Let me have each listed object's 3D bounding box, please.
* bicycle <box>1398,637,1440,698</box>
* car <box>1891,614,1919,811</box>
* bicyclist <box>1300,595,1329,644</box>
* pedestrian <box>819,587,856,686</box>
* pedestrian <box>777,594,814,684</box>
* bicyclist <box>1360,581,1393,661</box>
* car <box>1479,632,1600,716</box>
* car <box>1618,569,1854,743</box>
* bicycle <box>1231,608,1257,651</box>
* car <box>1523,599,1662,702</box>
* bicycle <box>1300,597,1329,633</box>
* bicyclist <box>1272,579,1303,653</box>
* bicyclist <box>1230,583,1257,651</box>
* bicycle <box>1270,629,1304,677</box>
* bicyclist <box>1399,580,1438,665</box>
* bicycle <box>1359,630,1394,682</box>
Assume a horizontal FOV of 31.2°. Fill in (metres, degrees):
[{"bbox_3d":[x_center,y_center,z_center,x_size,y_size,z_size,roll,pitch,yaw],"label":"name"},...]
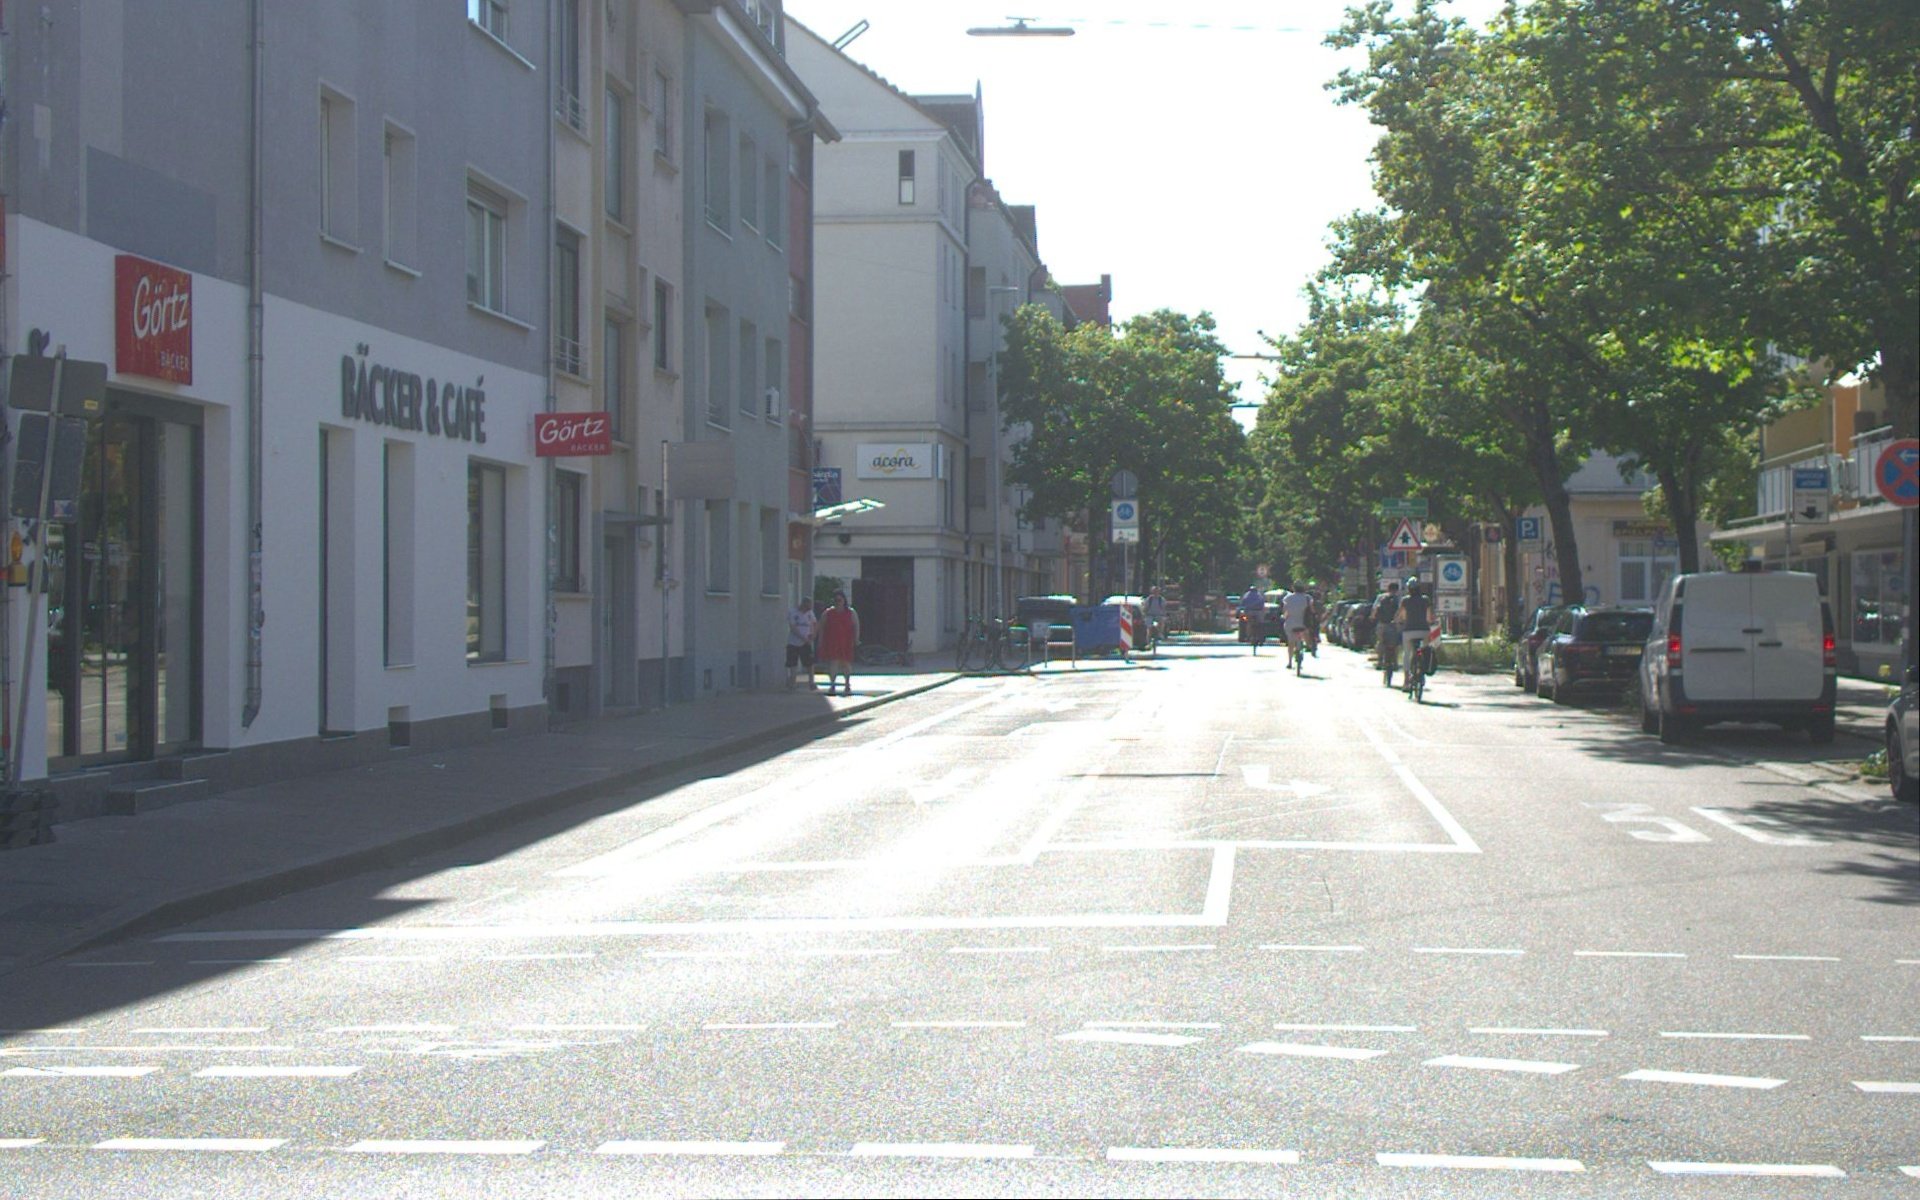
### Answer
[{"bbox_3d":[6.836,1.000,51.259,0.547,0.863,1.876,0,0,6],"label":"bicycle"},{"bbox_3d":[8.055,0.857,25.354,1.713,1.478,3.380,0,0,5],"label":"car"},{"bbox_3d":[8.639,0.464,83.716,0.692,1.189,0.595,0,0,6],"label":"bicyclist"},{"bbox_3d":[-1.973,0.585,55.423,0.577,1.577,0.708,0,0,-1],"label":"pedestrian"},{"bbox_3d":[-2.672,0.632,55.912,0.577,1.462,0.702,0,0,-1],"label":"pedestrian"},{"bbox_3d":[7.155,0.358,59.111,0.547,1.378,0.822,0,0,6],"label":"bicyclist"},{"bbox_3d":[9.621,1.207,57.253,1.713,1.310,3.380,0,0,5],"label":"car"},{"bbox_3d":[8.686,0.583,38.848,2.046,1.840,4.583,0,0,6],"label":"car"},{"bbox_3d":[7.023,0.719,85.038,0.632,1.038,1.795,0,0,4],"label":"bicycle"},{"bbox_3d":[9.429,0.725,51.432,1.713,1.478,3.380,0,0,5],"label":"car"},{"bbox_3d":[8.640,0.370,83.724,0.691,0.863,1.876,0,0,6],"label":"bicycle"},{"bbox_3d":[6.157,0.294,64.634,0.588,1.378,0.822,0,0,6],"label":"bicyclist"},{"bbox_3d":[6.986,0.407,84.665,0.632,1.663,1.050,0,0,4],"label":"bicyclist"},{"bbox_3d":[6.158,0.992,64.714,0.620,0.863,1.876,0,0,6],"label":"bicycle"},{"bbox_3d":[6.839,0.326,51.269,0.547,1.257,0.802,0,0,6],"label":"bicyclist"},{"bbox_3d":[7.161,0.954,59.128,0.547,0.863,1.876,0,0,6],"label":"bicycle"}]
